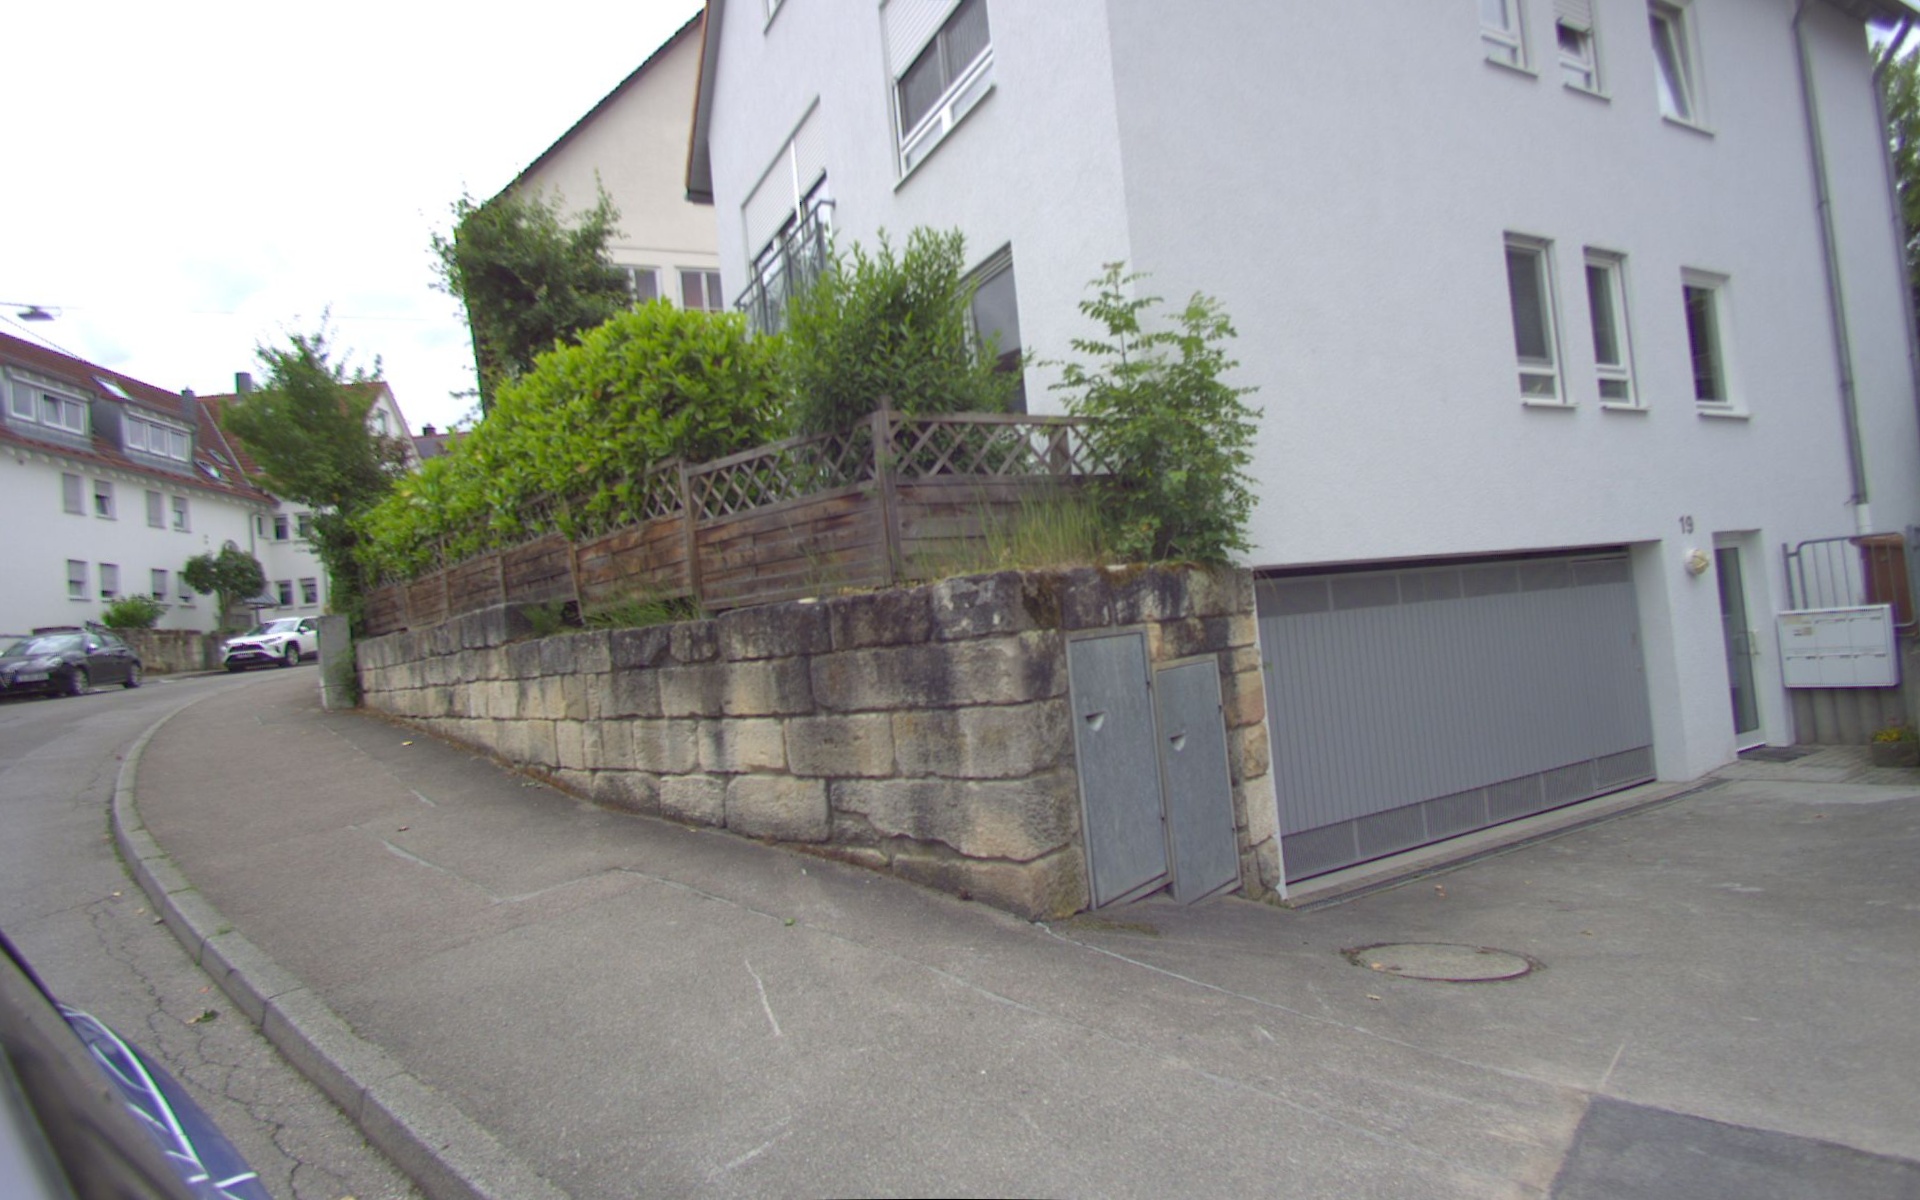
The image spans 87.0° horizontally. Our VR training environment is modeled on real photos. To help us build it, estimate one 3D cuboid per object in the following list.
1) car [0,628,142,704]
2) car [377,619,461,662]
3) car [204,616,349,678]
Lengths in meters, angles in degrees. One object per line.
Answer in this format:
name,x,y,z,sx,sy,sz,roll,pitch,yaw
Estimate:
car,-19.889,1.412,22.186,1.695,1.417,4.015,-6,1,-19
car,-23.009,1.684,43.187,1.714,1.575,3.914,-7,0,-6
car,-22.244,1.485,33.172,1.923,1.651,4.466,-6,-1,-6
